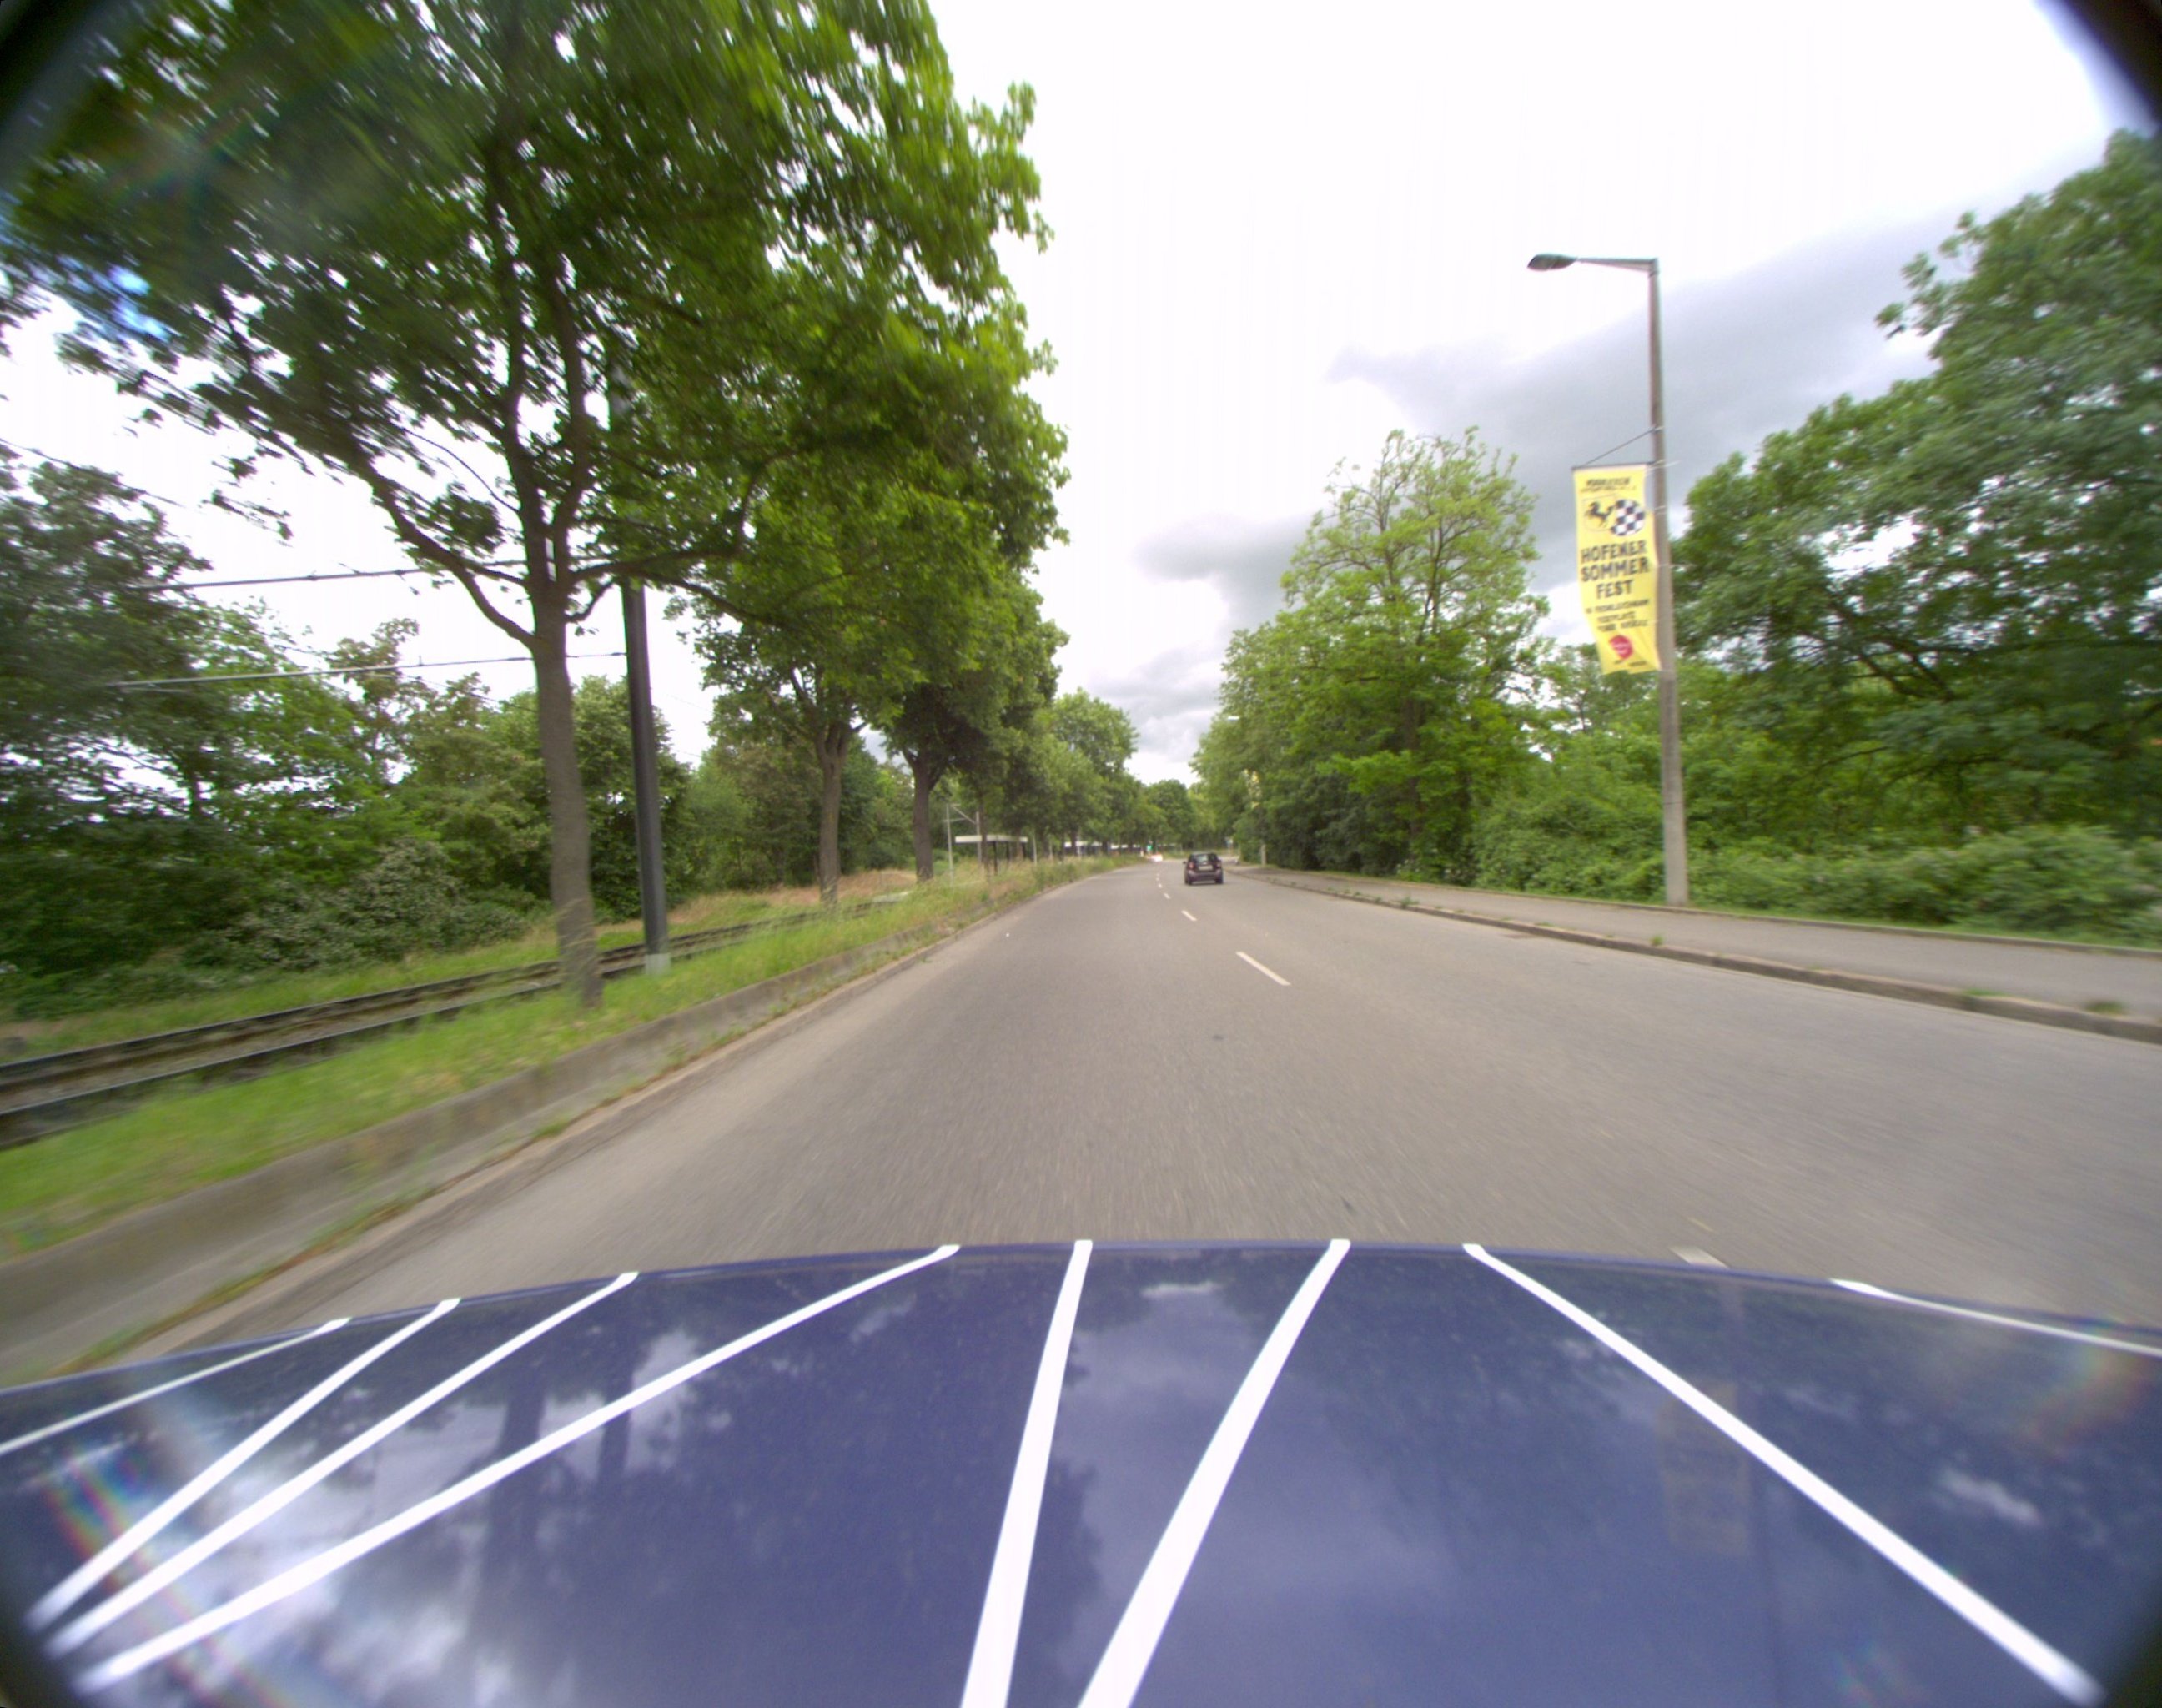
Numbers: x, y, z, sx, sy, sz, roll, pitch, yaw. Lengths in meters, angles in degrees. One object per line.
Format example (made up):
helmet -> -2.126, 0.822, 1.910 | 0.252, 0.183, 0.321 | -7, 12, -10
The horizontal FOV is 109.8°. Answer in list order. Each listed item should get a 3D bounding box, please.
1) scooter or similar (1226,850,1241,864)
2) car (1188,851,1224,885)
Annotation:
scooter or similar -> 13.336, 0.281, 66.416 | 0.366, 1.177, 1.294 | -5, 0, -42
car -> 6.013, 0.663, 36.650 | 1.598, 1.497, 3.030 | -2, 0, 9
